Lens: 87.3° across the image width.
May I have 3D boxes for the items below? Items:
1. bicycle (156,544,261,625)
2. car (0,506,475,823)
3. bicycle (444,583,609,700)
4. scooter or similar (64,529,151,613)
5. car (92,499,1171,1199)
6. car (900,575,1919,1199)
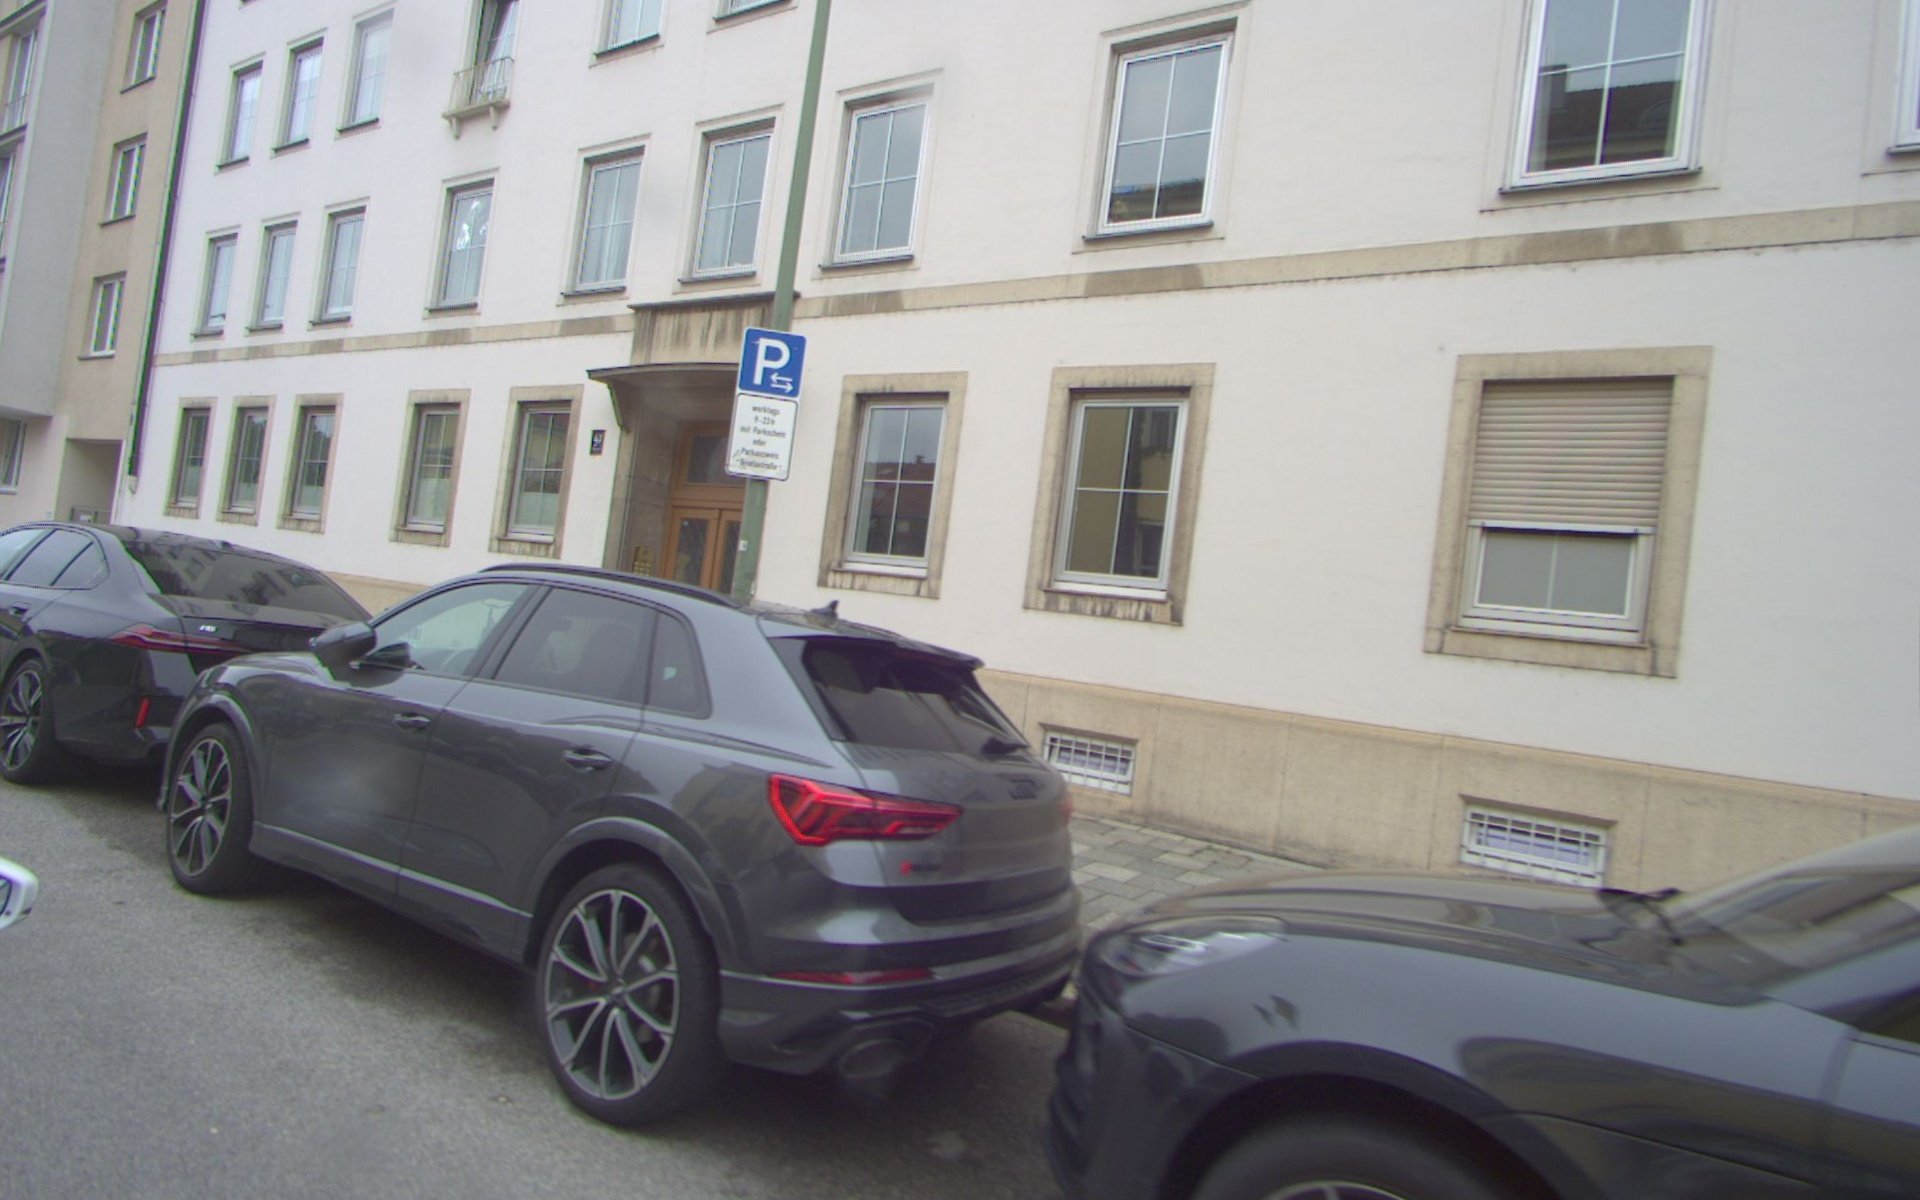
[{"bbox_3d":[-11.947,-0.254,15.987,1.806,1.105,0.630,6,1,31],"label":"bicycle"},{"bbox_3d":[-5.691,0.244,6.856,4.620,1.463,1.879,6,-3,30],"label":"car"},{"bbox_3d":[-5.000,0.449,11.560,2.005,1.094,0.598,6,1,30],"label":"bicycle"},{"bbox_3d":[-14.829,-0.507,17.499,1.077,1.290,0.731,6,-1,31],"label":"scooter or similar"},{"bbox_3d":[-1.609,0.639,4.308,4.417,1.599,1.832,6,-3,32],"label":"car"},{"bbox_3d":[2.267,1.054,1.803,4.418,1.599,1.831,6,-3,33],"label":"car"}]
